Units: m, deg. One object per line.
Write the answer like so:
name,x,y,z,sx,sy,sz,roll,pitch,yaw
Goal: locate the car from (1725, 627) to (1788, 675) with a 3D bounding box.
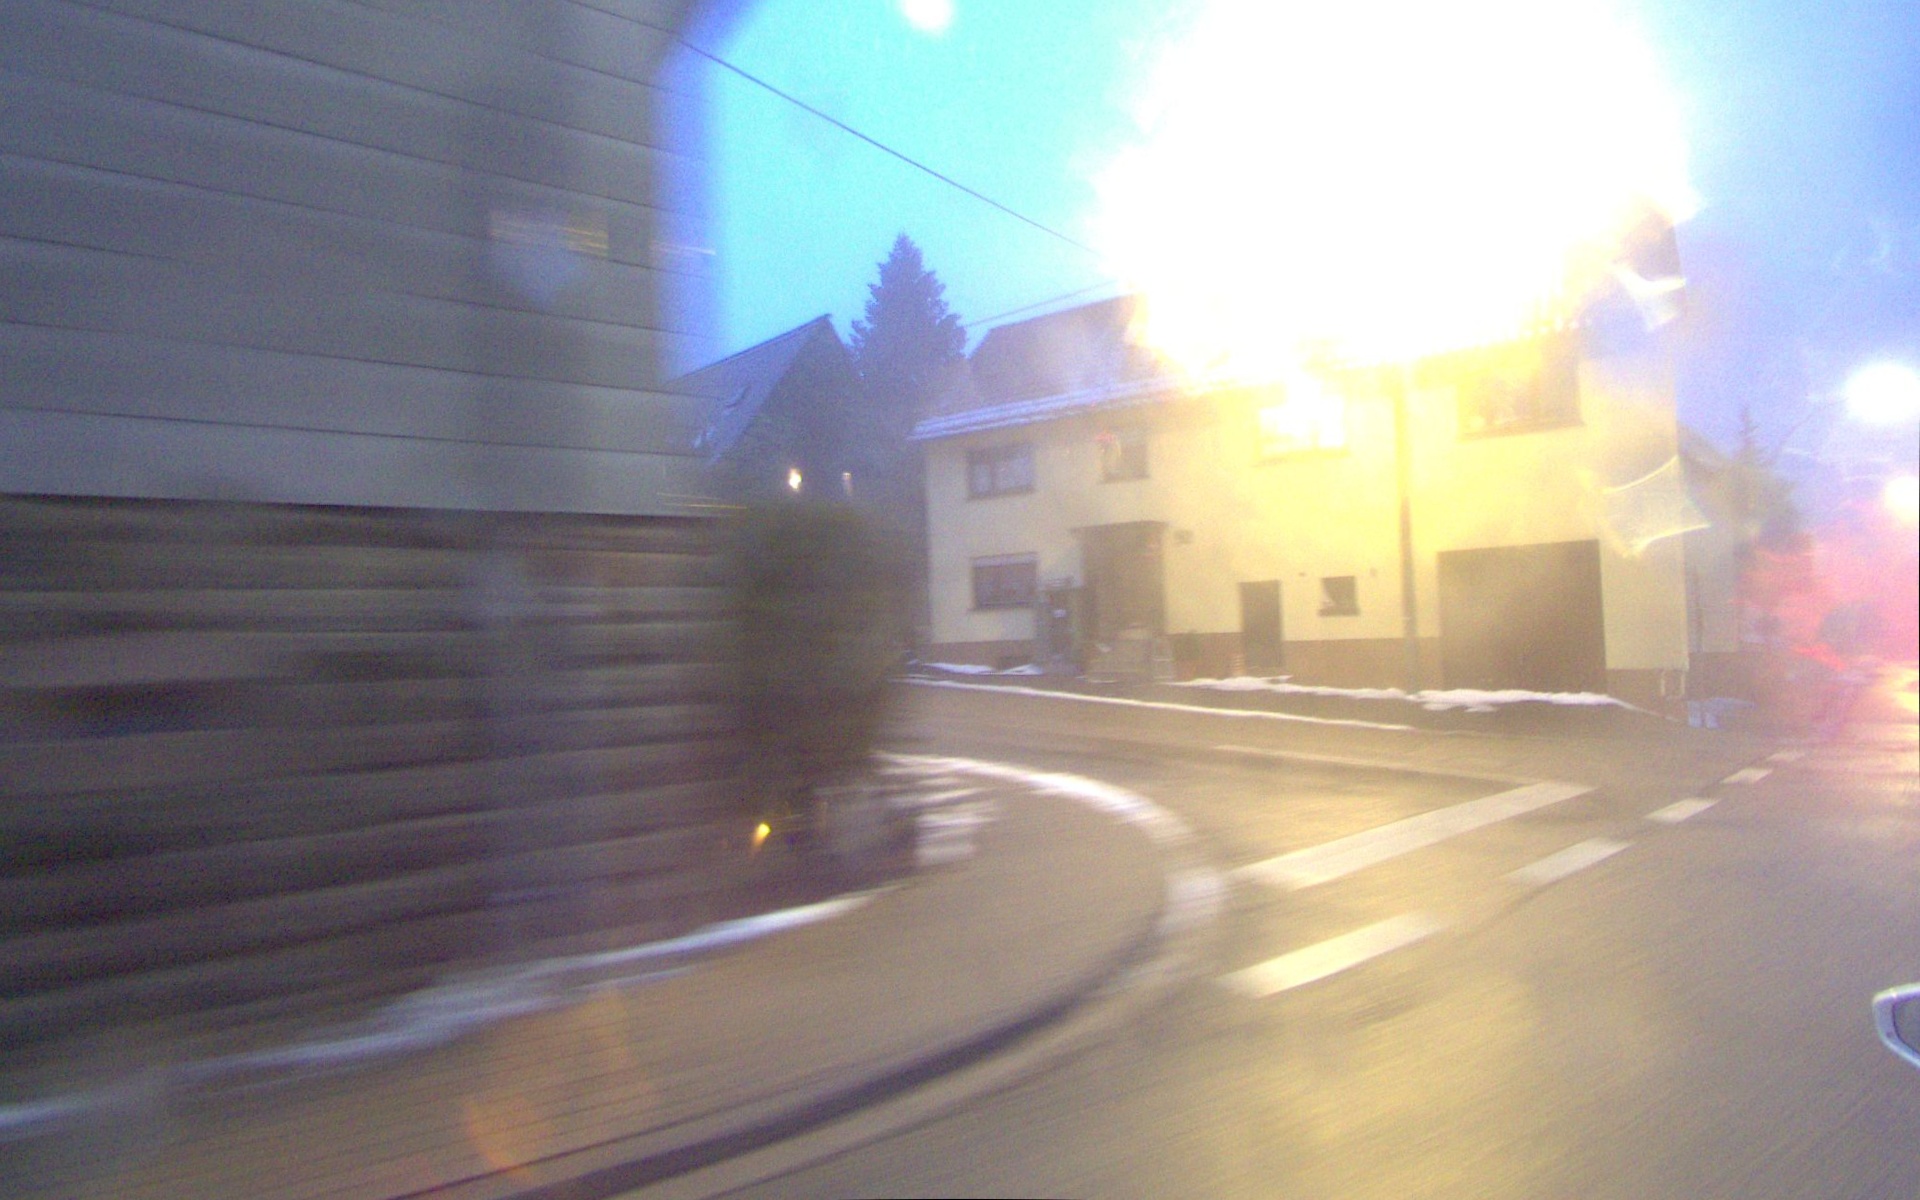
car,32.516,2.092,41.101,1.741,1.759,4.623,3,-1,36
